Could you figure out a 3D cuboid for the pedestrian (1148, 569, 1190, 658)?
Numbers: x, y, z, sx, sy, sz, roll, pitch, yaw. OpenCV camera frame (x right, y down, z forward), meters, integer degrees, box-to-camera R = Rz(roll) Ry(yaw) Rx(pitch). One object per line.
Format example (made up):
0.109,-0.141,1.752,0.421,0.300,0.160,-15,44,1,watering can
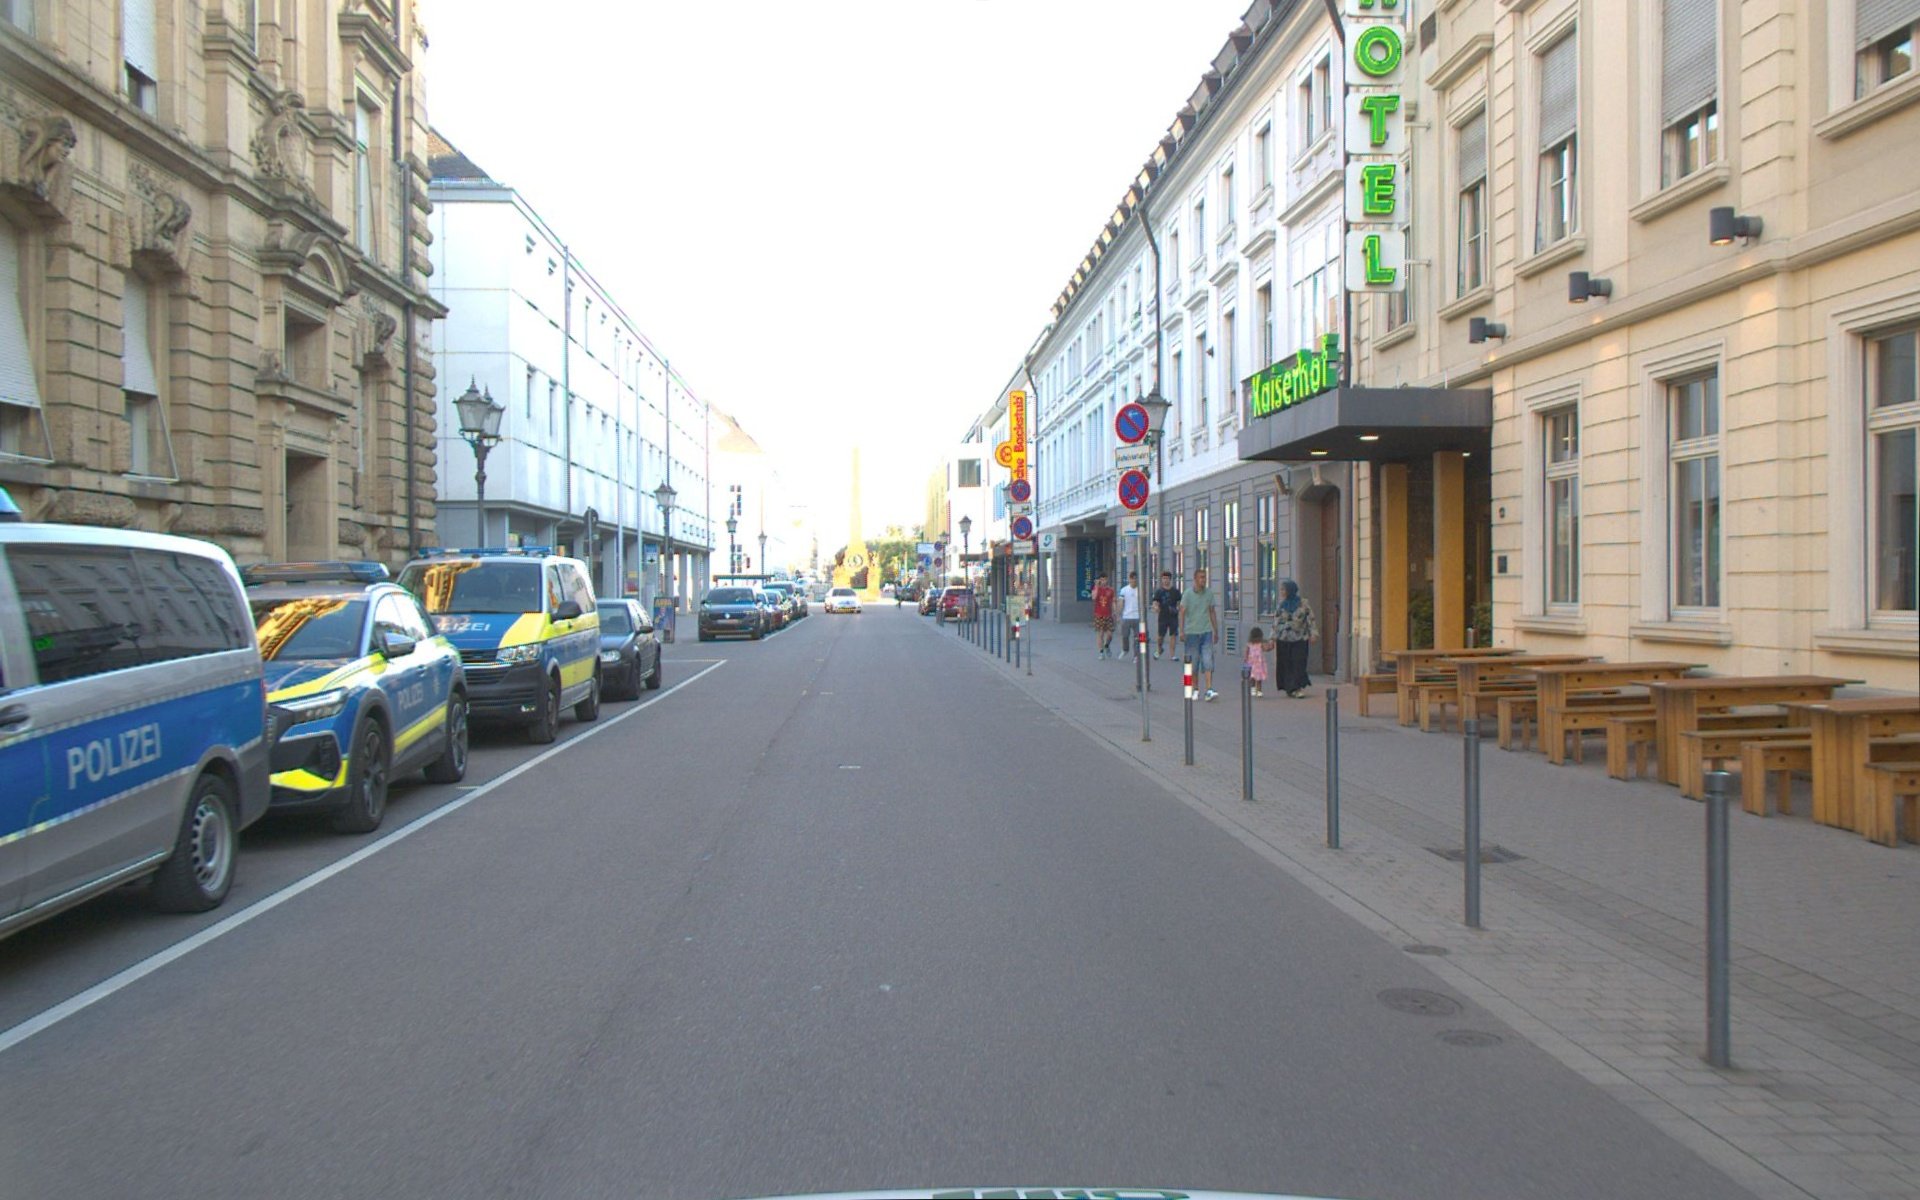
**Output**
4.218,0.263,33.443,0.699,1.760,0.873,-1,0,-1,pedestrian

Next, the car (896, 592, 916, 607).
-5.533,-0.056,169.036,1.953,1.489,3.999,-1,0,-2,car

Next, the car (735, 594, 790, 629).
-8.072,0.439,67.824,1.954,1.378,3.998,-1,0,-3,car

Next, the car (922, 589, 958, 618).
-1.091,0.161,87.400,1.765,1.489,4.115,-1,0,-3,car

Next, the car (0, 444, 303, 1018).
-4.566,0.499,6.640,1.954,2.124,5.204,-1,0,-3,car

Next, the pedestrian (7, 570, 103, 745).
-9.316,0.575,17.048,0.595,1.760,0.702,-1,0,-2,pedestrian

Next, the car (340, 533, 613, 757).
-5.167,0.434,18.410,1.955,2.114,4.984,-1,0,-5,car

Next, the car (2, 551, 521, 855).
-4.853,0.611,12.439,1.954,1.783,4.987,-1,0,-3,car

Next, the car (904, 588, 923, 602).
-4.963,-0.547,177.550,1.953,1.489,3.999,-1,0,-2,car

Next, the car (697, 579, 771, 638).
-6.686,0.236,49.275,1.749,1.643,4.164,-1,0,-2,car

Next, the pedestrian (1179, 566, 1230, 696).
3.383,0.422,22.890,0.595,1.760,0.558,-1,0,-2,pedestrian

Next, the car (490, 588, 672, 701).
-5.640,0.613,25.109,1.954,1.520,4.162,-1,0,-3,car

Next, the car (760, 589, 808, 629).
-8.390,0.397,78.963,1.954,1.758,4.513,-2,0,-3,car

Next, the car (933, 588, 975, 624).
-0.296,0.232,73.722,1.724,1.549,3.675,-1,0,-3,car

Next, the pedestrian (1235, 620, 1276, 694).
4.130,0.793,23.132,0.450,0.997,0.558,-1,0,-2,pedestrian

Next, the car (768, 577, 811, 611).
-8.791,-0.327,85.434,1.954,1.691,3.998,-1,0,-3,car

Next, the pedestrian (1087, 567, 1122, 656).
3.015,0.235,34.653,0.608,1.821,0.913,-1,0,-2,pedestrian

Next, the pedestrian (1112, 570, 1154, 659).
3.464,0.279,33.146,0.732,1.760,0.881,-1,0,0,pedestrian

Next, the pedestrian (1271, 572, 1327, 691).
4.697,0.428,22.941,0.617,1.629,0.614,-1,0,-2,pedestrian

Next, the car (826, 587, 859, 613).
-6.687,-0.022,94.250,1.749,1.433,4.086,-1,0,-2,car
